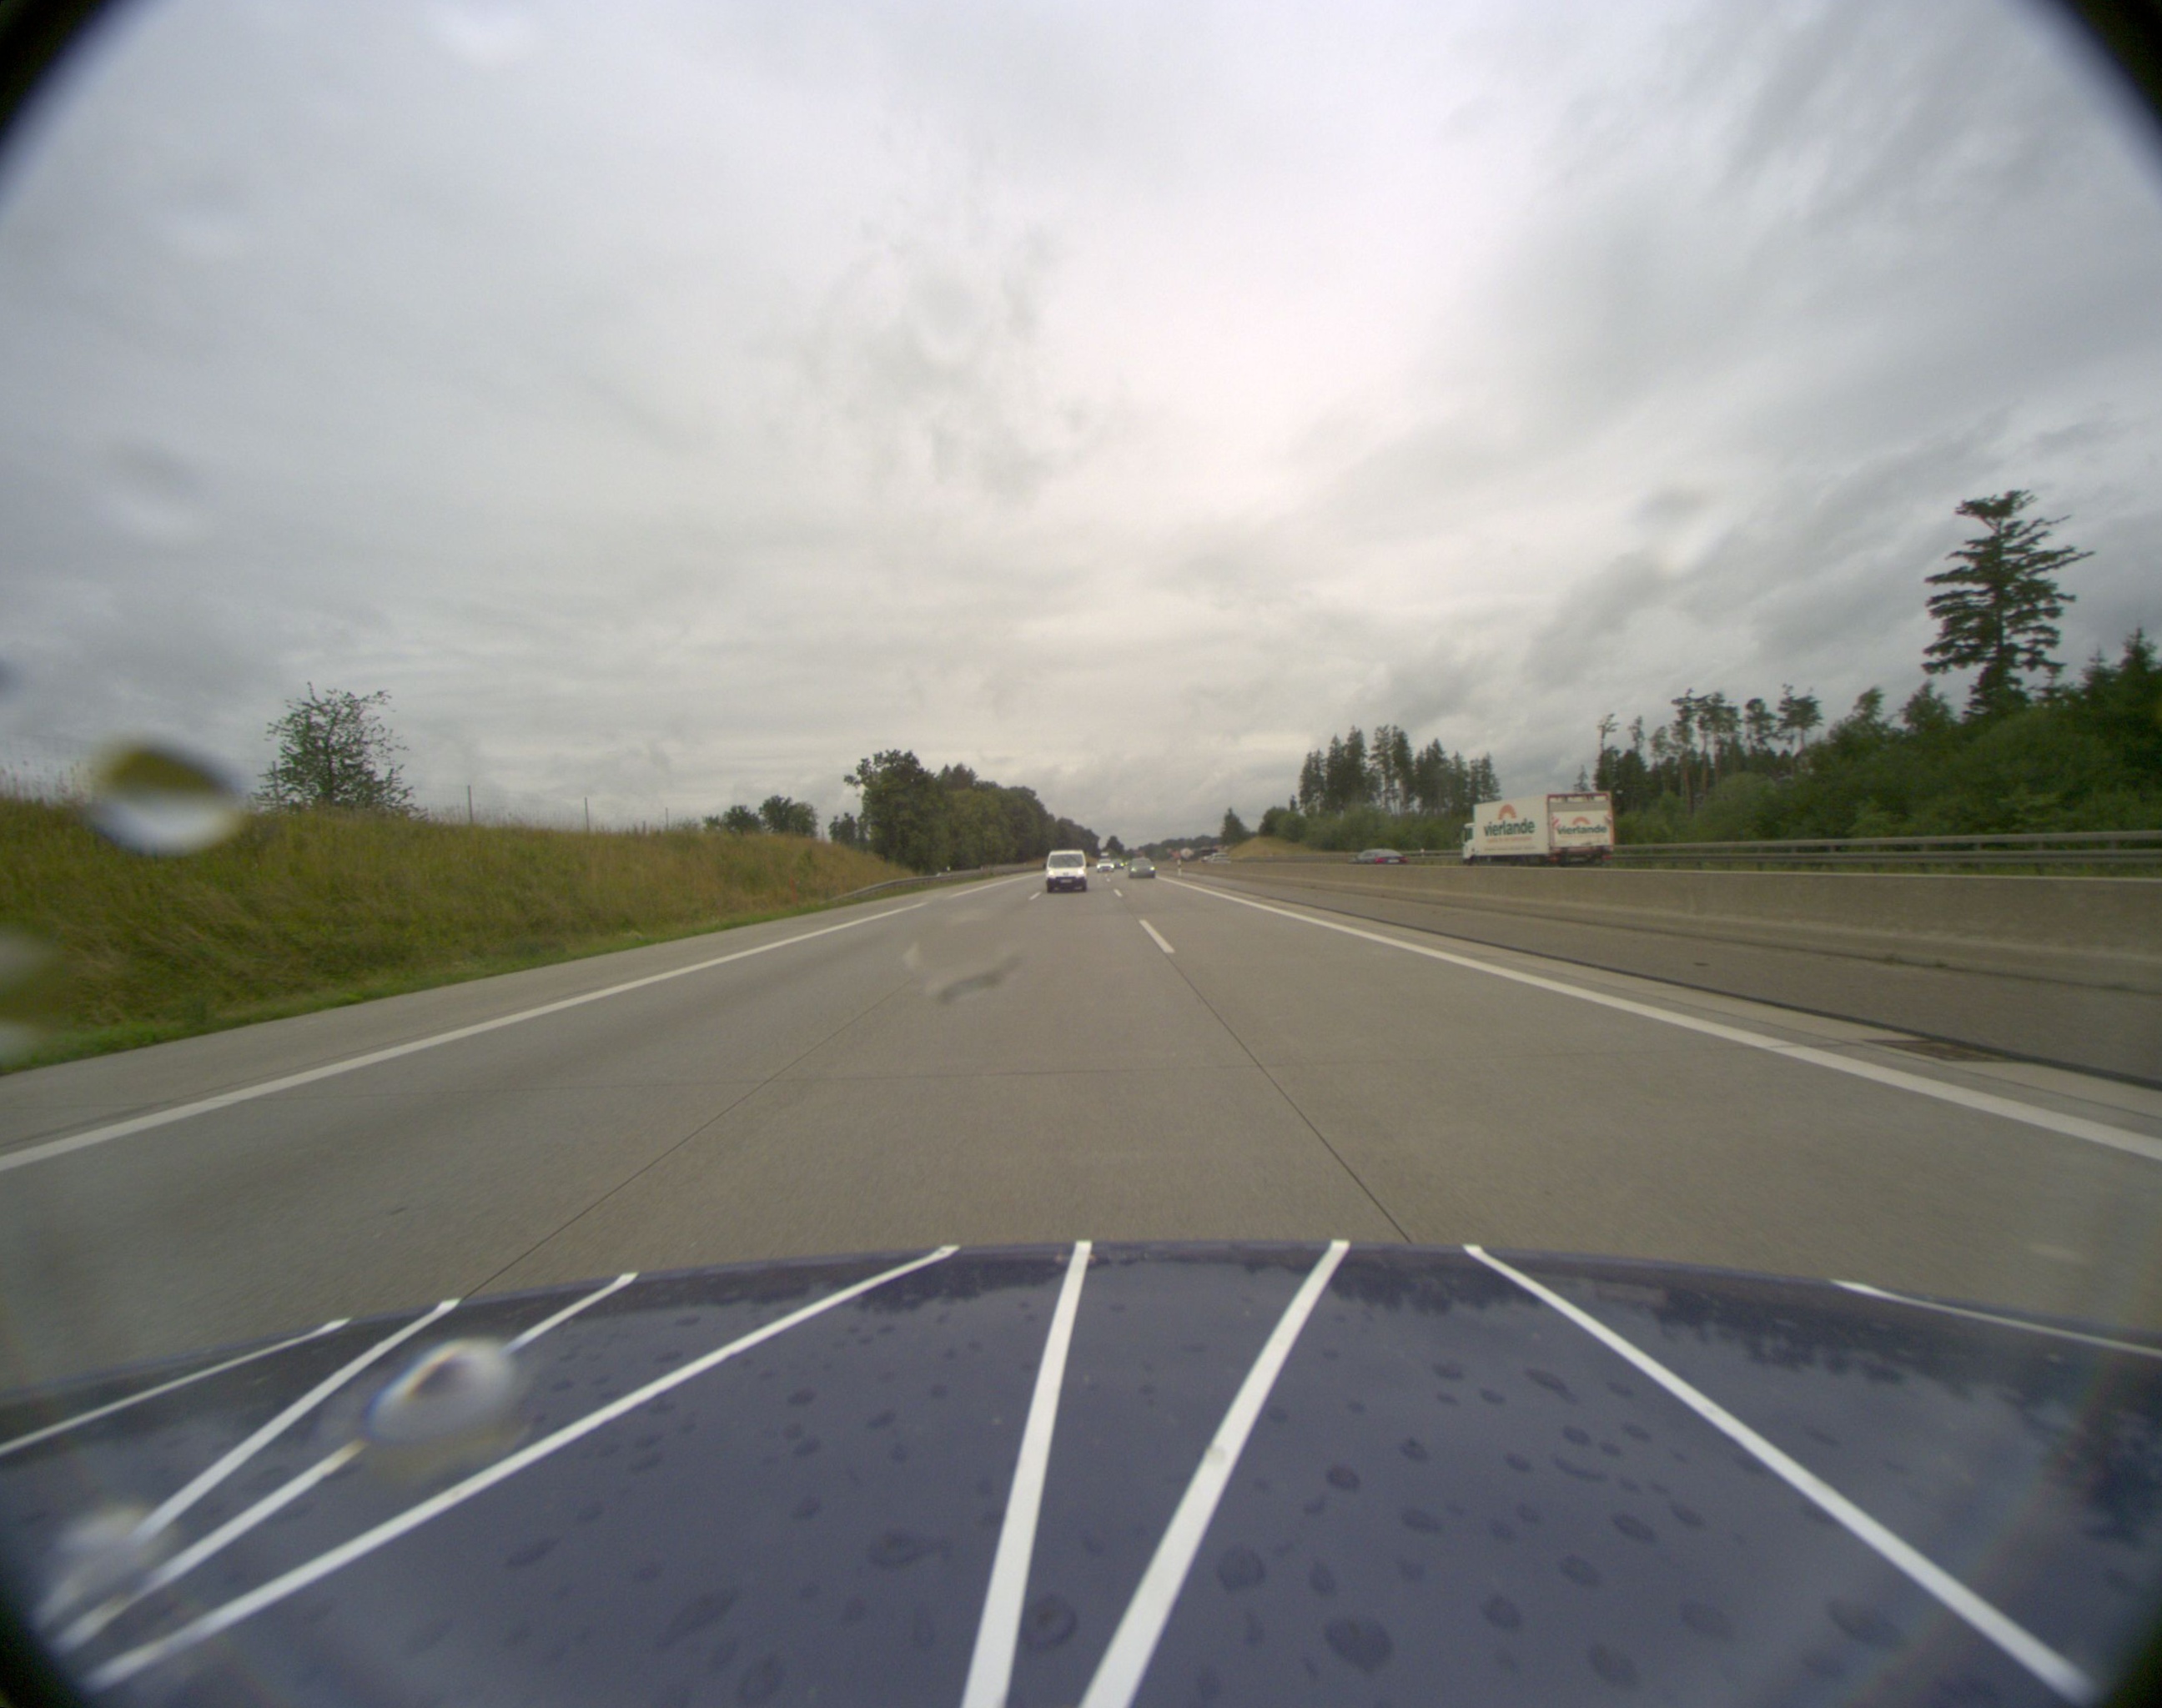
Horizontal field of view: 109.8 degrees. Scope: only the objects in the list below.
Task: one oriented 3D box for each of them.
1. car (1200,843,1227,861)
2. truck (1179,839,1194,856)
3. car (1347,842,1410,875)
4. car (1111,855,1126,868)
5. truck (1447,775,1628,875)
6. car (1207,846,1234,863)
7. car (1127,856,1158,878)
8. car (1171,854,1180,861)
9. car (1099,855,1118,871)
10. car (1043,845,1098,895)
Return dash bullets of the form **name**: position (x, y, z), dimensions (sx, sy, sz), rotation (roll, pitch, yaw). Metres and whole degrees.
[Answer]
- **car**: position (18.088, -0.273, 104.027), dimensions (2.627, 2.386, 7.517), rotation (-2, 0, 2)
- **truck**: position (27.204, -1.554, 195.599), dimensions (2.843, 4.108, 8.852), rotation (-2, 0, 2)
- **car**: position (15.653, 0.218, 40.184), dimensions (1.633, 1.557, 4.411), rotation (-2, 0, 1)
- **car**: position (5.244, 1.051, 106.668), dimensions (1.885, 1.669, 4.319), rotation (-2, 0, 2)
- **truck**: position (20.291, -1.165, 34.664), dimensions (2.906, 3.841, 8.900), rotation (-2, 0, 1)
- **car**: position (13.069, 0.045, 71.368), dimensions (1.746, 1.557, 4.499), rotation (-2, 0, 1)
- **car**: position (4.406, 0.890, 54.934), dimensions (1.789, 1.472, 4.570), rotation (-2, 0, 0)
- **car**: position (22.693, 0.778, 183.094), dimensions (1.833, 1.525, 5.091), rotation (-2, 0, 4)
- **car**: position (3.077, 0.996, 85.118), dimensions (2.031, 1.669, 4.319), rotation (-2, 0, 2)
- **car**: position (-0.383, 0.705, 36.617), dimensions (2.042, 2.111, 6.069), rotation (-2, 0, 4)
